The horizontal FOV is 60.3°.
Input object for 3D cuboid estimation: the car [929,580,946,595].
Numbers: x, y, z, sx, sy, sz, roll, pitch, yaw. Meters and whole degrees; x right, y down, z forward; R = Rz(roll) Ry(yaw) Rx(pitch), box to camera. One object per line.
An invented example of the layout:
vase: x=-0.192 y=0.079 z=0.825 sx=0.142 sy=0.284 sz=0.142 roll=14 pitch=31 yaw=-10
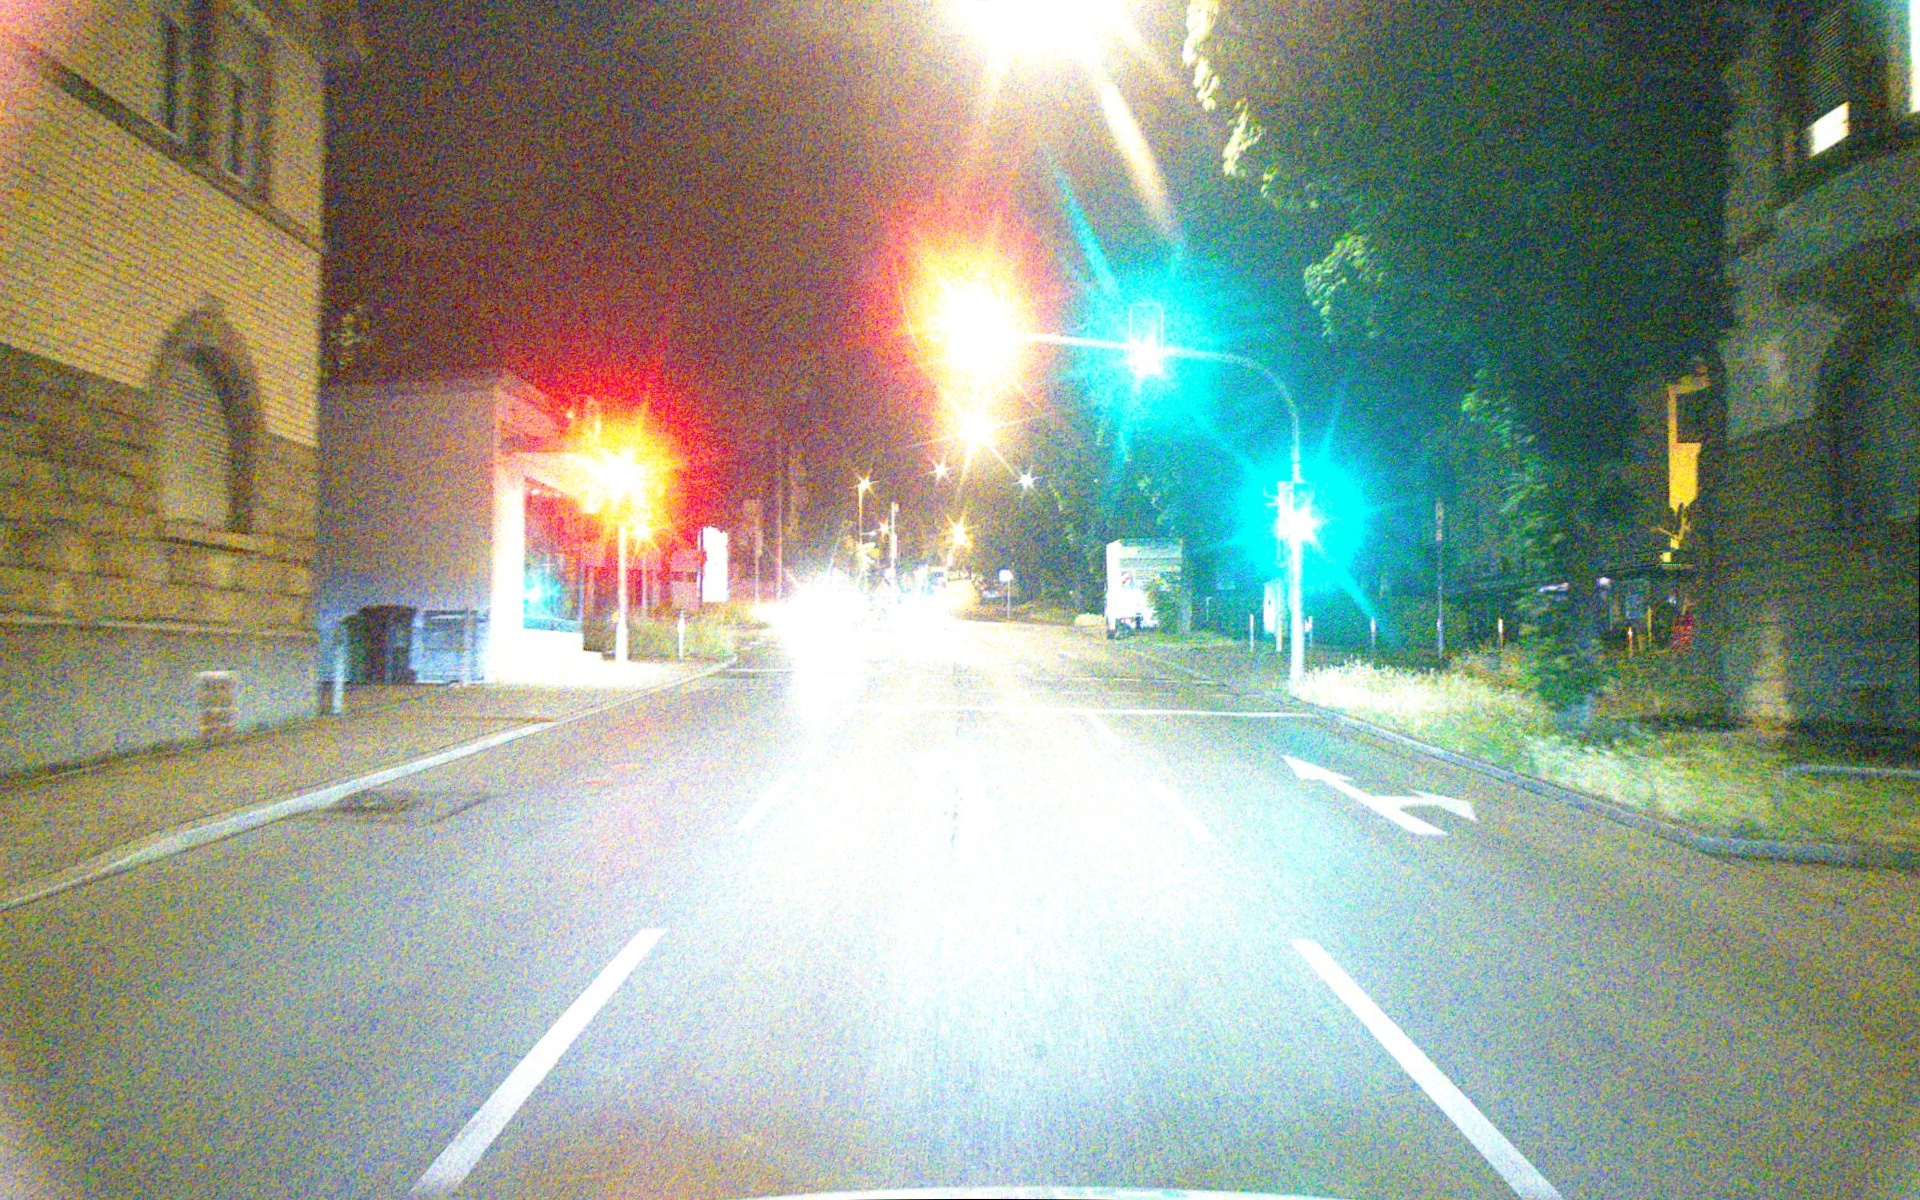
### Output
car: x=-2.394 y=-1.319 z=177.896 sx=1.778 sy=1.517 sz=3.999 roll=1 pitch=0 yaw=-2

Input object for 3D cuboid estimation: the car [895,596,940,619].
car: x=-2.766 y=0.484 z=107.050 sx=1.885 sy=1.413 sz=4.564 roll=1 pitch=0 yaw=-15

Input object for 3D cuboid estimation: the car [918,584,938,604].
car: x=-2.916 y=-0.551 z=151.945 sx=1.778 sy=1.713 sz=4.000 roll=1 pitch=0 yaw=0

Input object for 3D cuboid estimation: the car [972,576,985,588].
car: x=2.314 y=-2.271 z=208.811 sx=1.600 sy=1.477 sz=3.484 roll=1 pitch=0 yaw=0

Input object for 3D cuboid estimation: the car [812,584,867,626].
car: x=-4.609 y=0.181 z=63.942 sx=1.819 sy=1.561 sz=4.027 roll=1 pitch=0 yaw=0

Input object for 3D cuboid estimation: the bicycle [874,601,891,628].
bicycle: x=-3.501 y=0.655 z=74.853 sx=0.682 sy=1.169 sz=1.950 roll=1 pitch=0 yaw=0

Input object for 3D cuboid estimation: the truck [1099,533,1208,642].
truck: x=5.960 y=-0.401 z=51.898 sx=2.693 sy=3.165 sz=6.259 roll=1 pitch=0 yaw=1

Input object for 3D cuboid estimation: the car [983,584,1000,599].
car: x=3.048 y=-0.837 z=160.562 sx=1.600 sy=1.477 sz=3.484 roll=1 pitch=0 yaw=0

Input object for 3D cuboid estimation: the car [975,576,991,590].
car: x=2.416 y=-1.797 z=176.594 sx=1.600 sy=1.477 sz=3.484 roll=1 pitch=0 yaw=0

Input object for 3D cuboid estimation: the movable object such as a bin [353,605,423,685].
movable object such as a bin: x=-7.856 y=0.612 z=22.724 sx=0.625 sy=1.067 sz=0.655 roll=1 pitch=0 yaw=18

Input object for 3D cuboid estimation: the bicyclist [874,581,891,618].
bicyclist: x=-3.503 y=-0.031 z=74.840 sx=0.676 sy=1.666 sz=0.896 roll=1 pitch=0 yaw=0

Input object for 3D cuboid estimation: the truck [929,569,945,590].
truck: x=-3.203 y=-2.817 z=226.926 sx=2.044 sy=2.897 sz=5.829 roll=1 pitch=0 yaw=-2

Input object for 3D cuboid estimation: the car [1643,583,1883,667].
car: x=16.616 y=0.518 z=34.405 sx=4.045 sy=1.302 sz=1.767 roll=-6 pitch=-1 yaw=7
